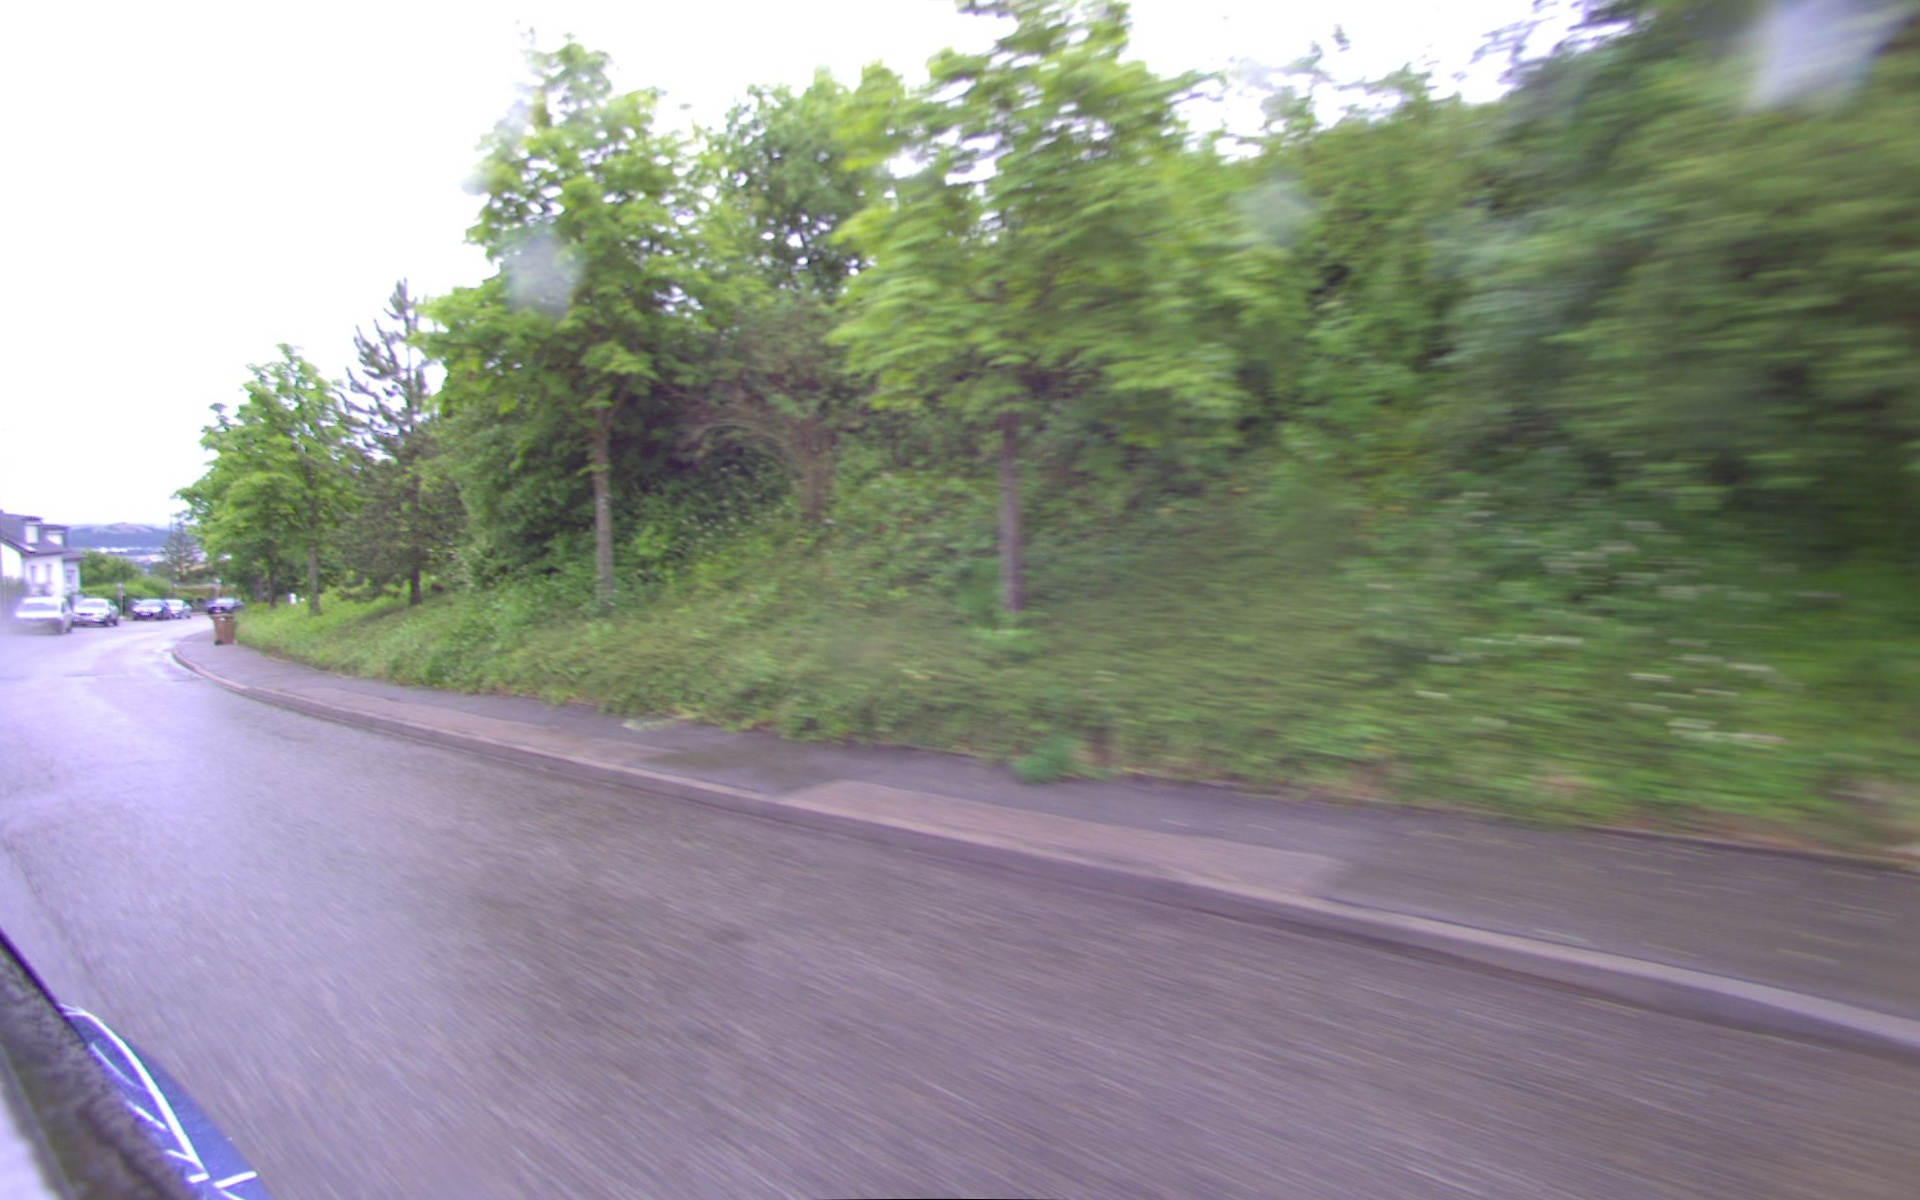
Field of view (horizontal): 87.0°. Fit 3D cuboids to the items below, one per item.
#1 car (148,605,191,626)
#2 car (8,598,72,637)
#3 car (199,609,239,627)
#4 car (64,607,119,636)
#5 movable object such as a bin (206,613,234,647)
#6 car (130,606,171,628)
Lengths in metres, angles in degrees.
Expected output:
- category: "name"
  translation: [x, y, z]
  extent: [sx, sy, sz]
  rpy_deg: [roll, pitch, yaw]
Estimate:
- category: "car"
  translation: [-61.841, 1.198, 79.235]
  extent: [1.743, 1.478, 4.248]
  rpy_deg: [2, -1, -26]
- category: "car"
  translation: [-45.410, 0.834, 50.054]
  extent: [1.755, 1.817, 4.719]
  rpy_deg: [0, 0, -35]
- category: "car"
  translation: [-68.043, 1.641, 93.007]
  extent: [1.831, 1.538, 5.080]
  rpy_deg: [2, -1, -23]
- category: "car"
  translation: [-52.361, 1.274, 61.105]
  extent: [1.779, 1.639, 4.300]
  rpy_deg: [2, -1, -31]
- category: "movable object such as a bin"
  translation: [-25.533, 1.038, 34.922]
  extent: [0.685, 1.099, 0.805]
  rpy_deg: [-3, -3, -34]
- category: "car"
  translation: [-59.475, 1.232, 74.410]
  extent: [1.636, 1.478, 3.775]
  rpy_deg: [2, -1, -27]
